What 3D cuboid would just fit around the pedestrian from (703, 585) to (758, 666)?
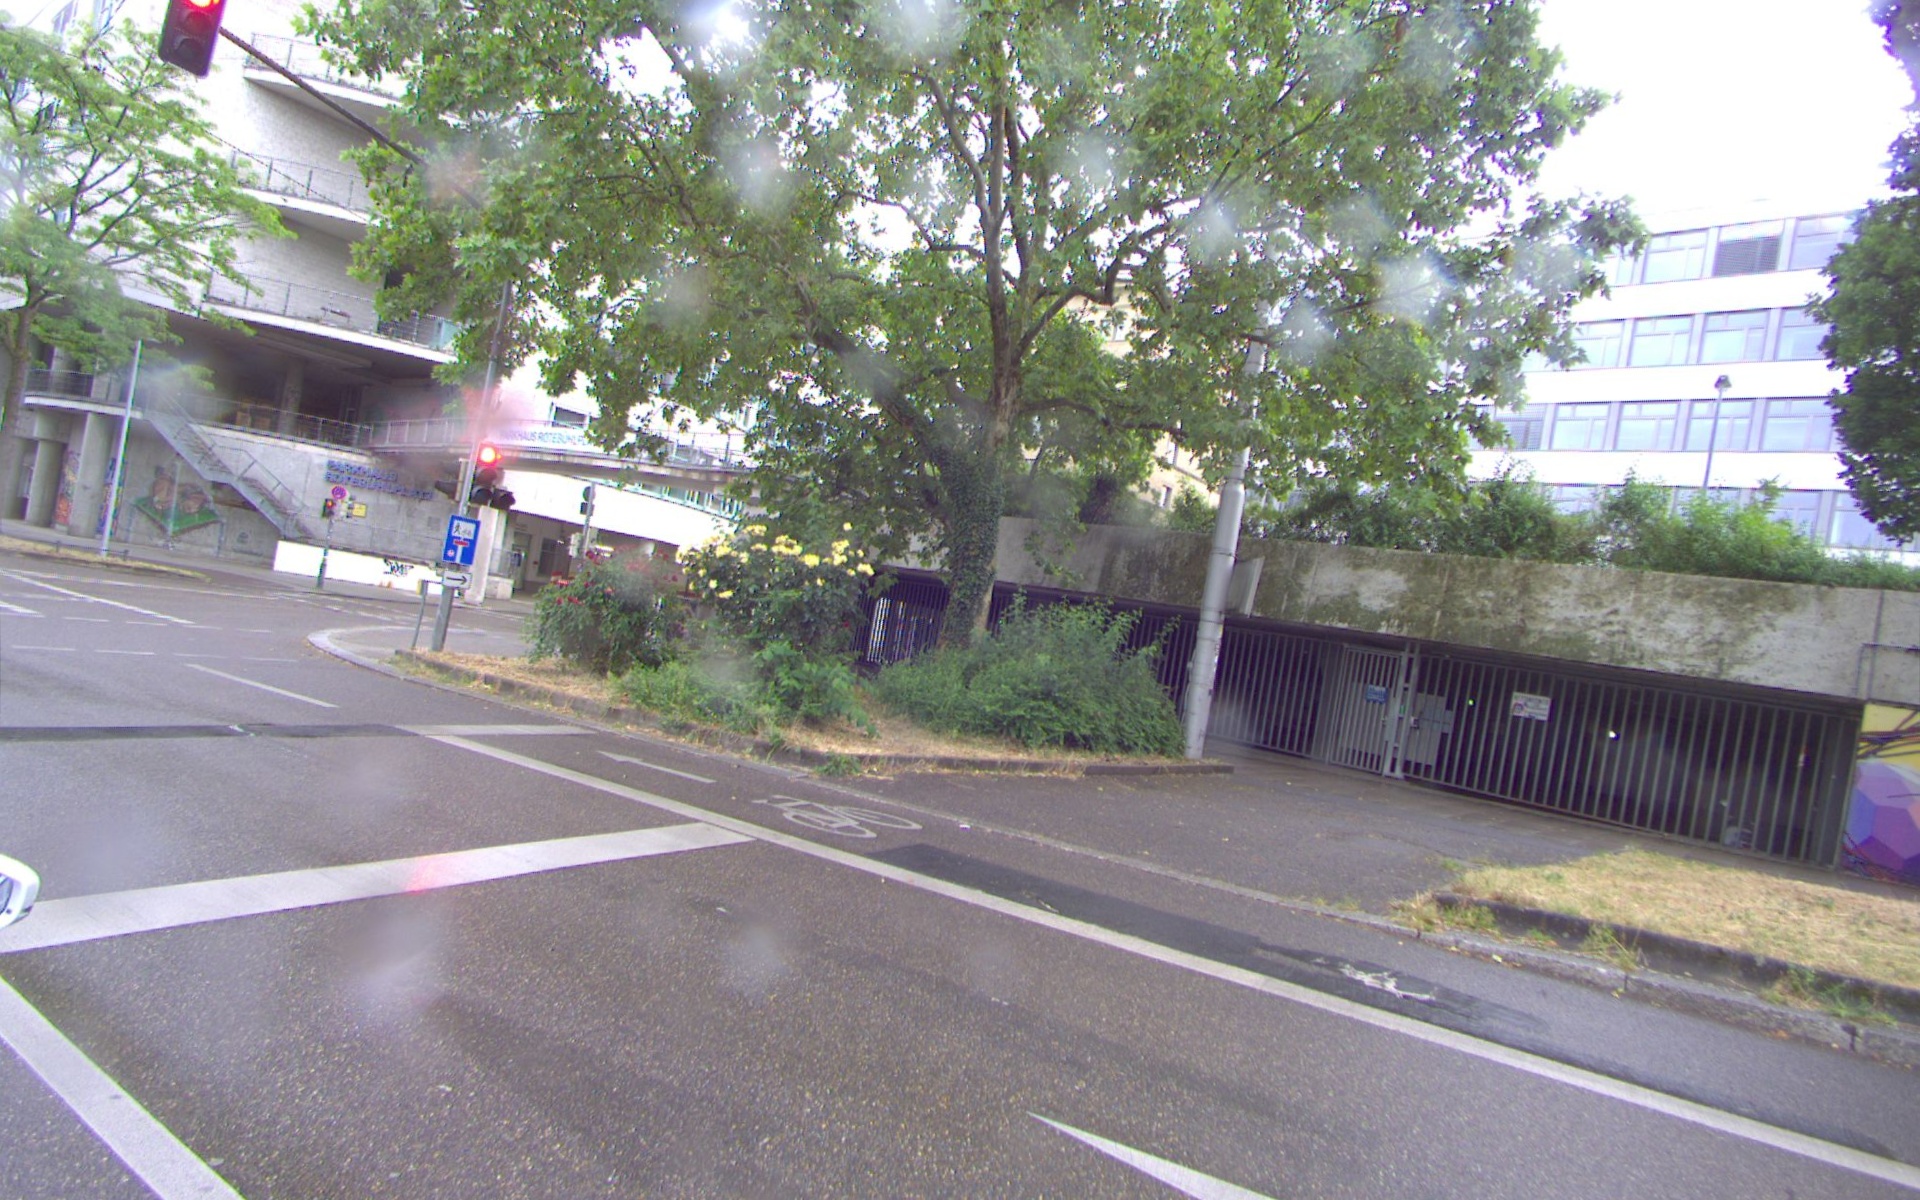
[{"bbox_3d":[-5.924,0.667,25.997,0.745,1.932,0.847,8,-1,31],"label":"pedestrian"}]
